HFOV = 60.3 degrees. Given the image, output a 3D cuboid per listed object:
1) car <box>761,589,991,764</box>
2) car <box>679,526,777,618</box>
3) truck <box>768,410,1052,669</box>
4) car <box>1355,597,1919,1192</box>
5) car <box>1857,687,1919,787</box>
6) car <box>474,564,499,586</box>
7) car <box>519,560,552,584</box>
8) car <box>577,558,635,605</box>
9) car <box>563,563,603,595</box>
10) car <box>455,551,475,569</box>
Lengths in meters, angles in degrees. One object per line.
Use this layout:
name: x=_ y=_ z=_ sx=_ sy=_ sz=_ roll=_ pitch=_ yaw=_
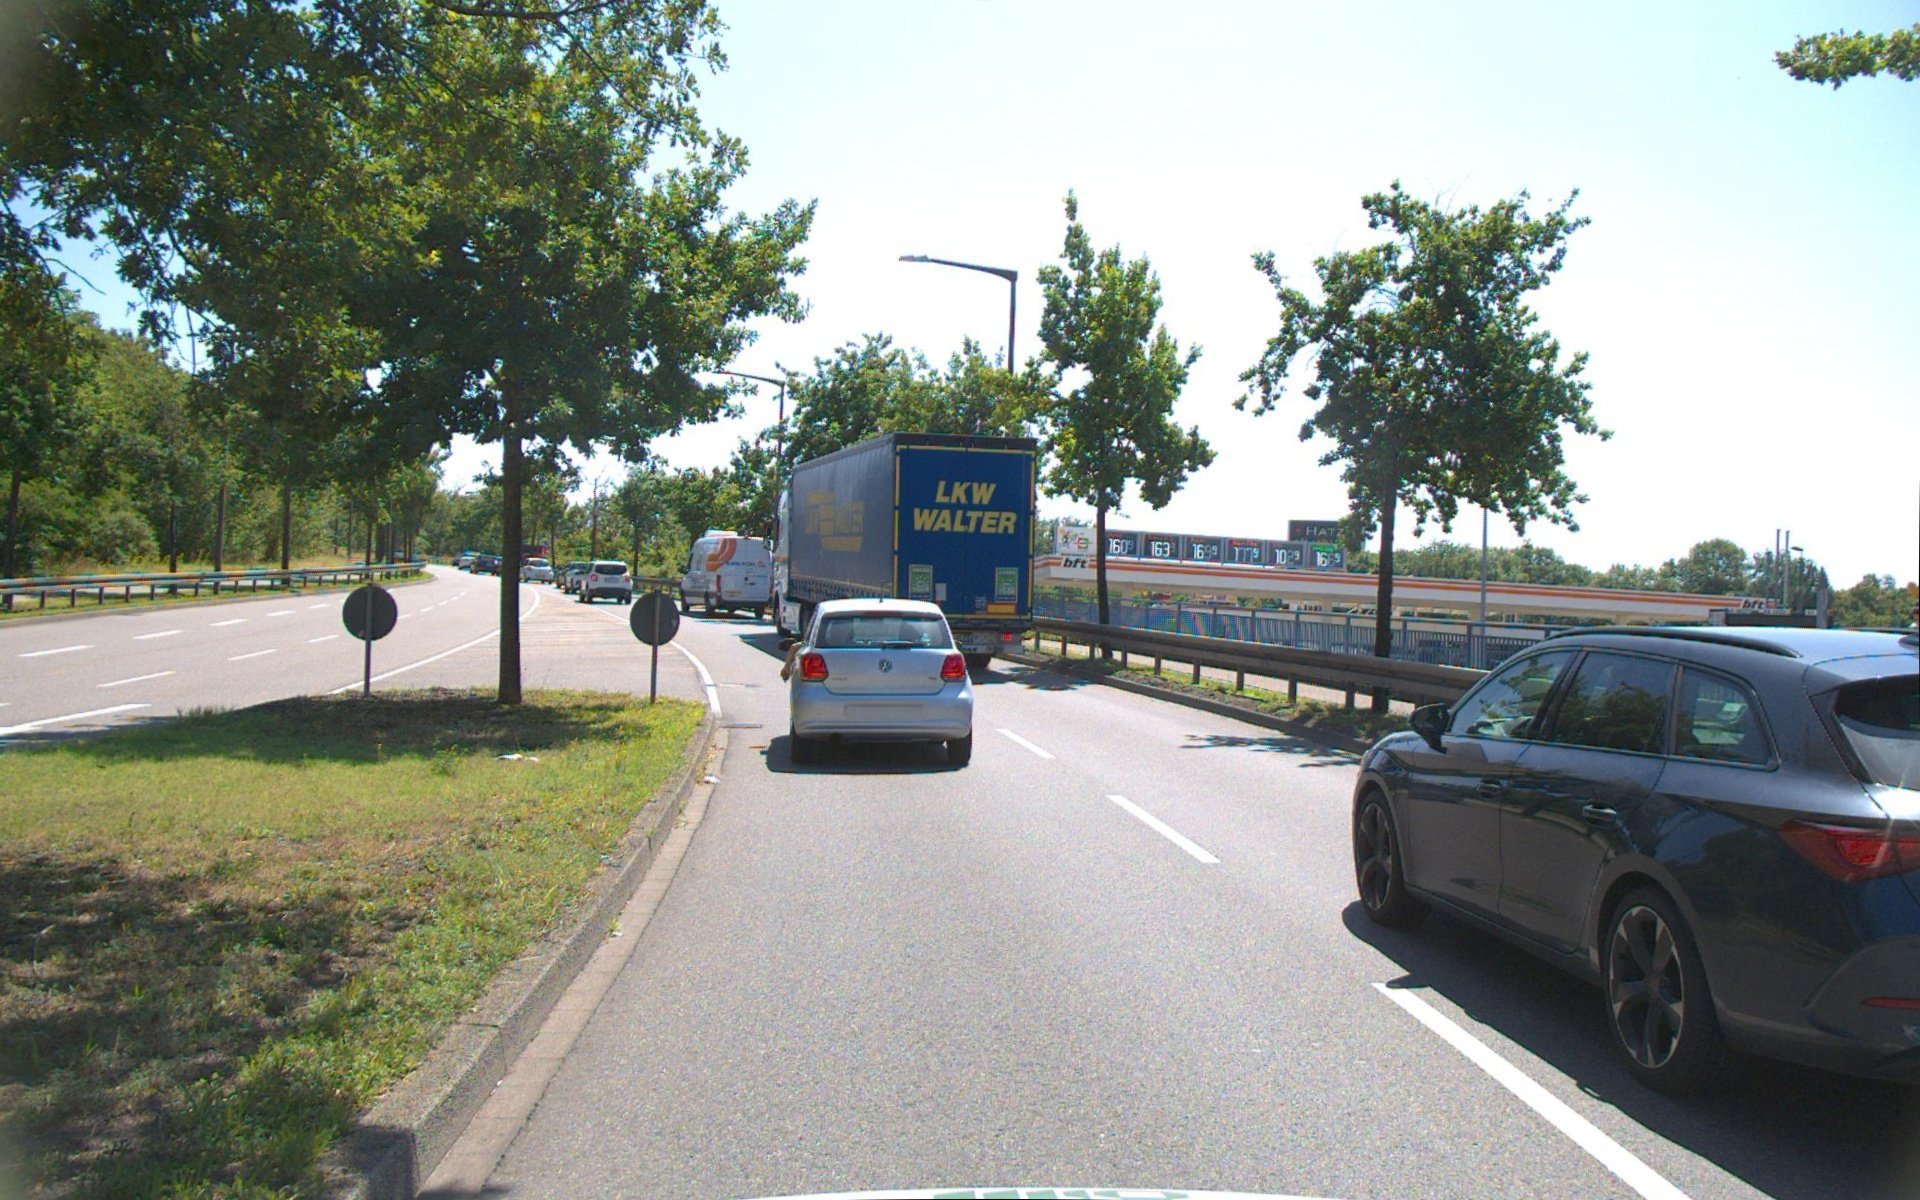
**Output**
car: x=-0.910 y=0.678 z=15.892 sx=1.617 sy=1.464 sz=3.525 roll=2 pitch=-1 yaw=-12
car: x=-8.130 y=-0.993 z=57.389 sx=2.143 sy=2.951 sz=6.324 roll=2 pitch=1 yaw=-19
truck: x=-1.741 y=-1.041 z=36.004 sx=2.785 sy=4.272 sz=16.415 roll=2 pitch=0 yaw=-14
car: x=2.933 y=0.785 z=6.296 sx=1.573 sy=1.481 sz=4.231 roll=2 pitch=-1 yaw=-4
car: x=18.883 y=2.507 z=29.934 sx=4.504 sy=1.689 sz=1.595 roll=2 pitch=-1 yaw=-5
car: x=-34.182 y=-1.785 z=119.426 sx=1.637 sy=1.491 sz=3.566 roll=2 pitch=-1 yaw=-15
car: x=-25.572 y=-1.657 z=99.619 sx=1.584 sy=1.384 sz=3.642 roll=2 pitch=0 yaw=-19
car: x=-14.371 y=-0.712 z=66.965 sx=1.873 sy=1.748 sz=4.202 roll=2 pitch=-1 yaw=-17
car: x=-17.776 y=-0.983 z=77.922 sx=1.471 sy=1.384 sz=3.644 roll=2 pitch=0 yaw=-18
car: x=-40.166 y=-3.229 z=134.165 sx=1.432 sy=1.337 sz=3.623 roll=2 pitch=-1 yaw=-15
